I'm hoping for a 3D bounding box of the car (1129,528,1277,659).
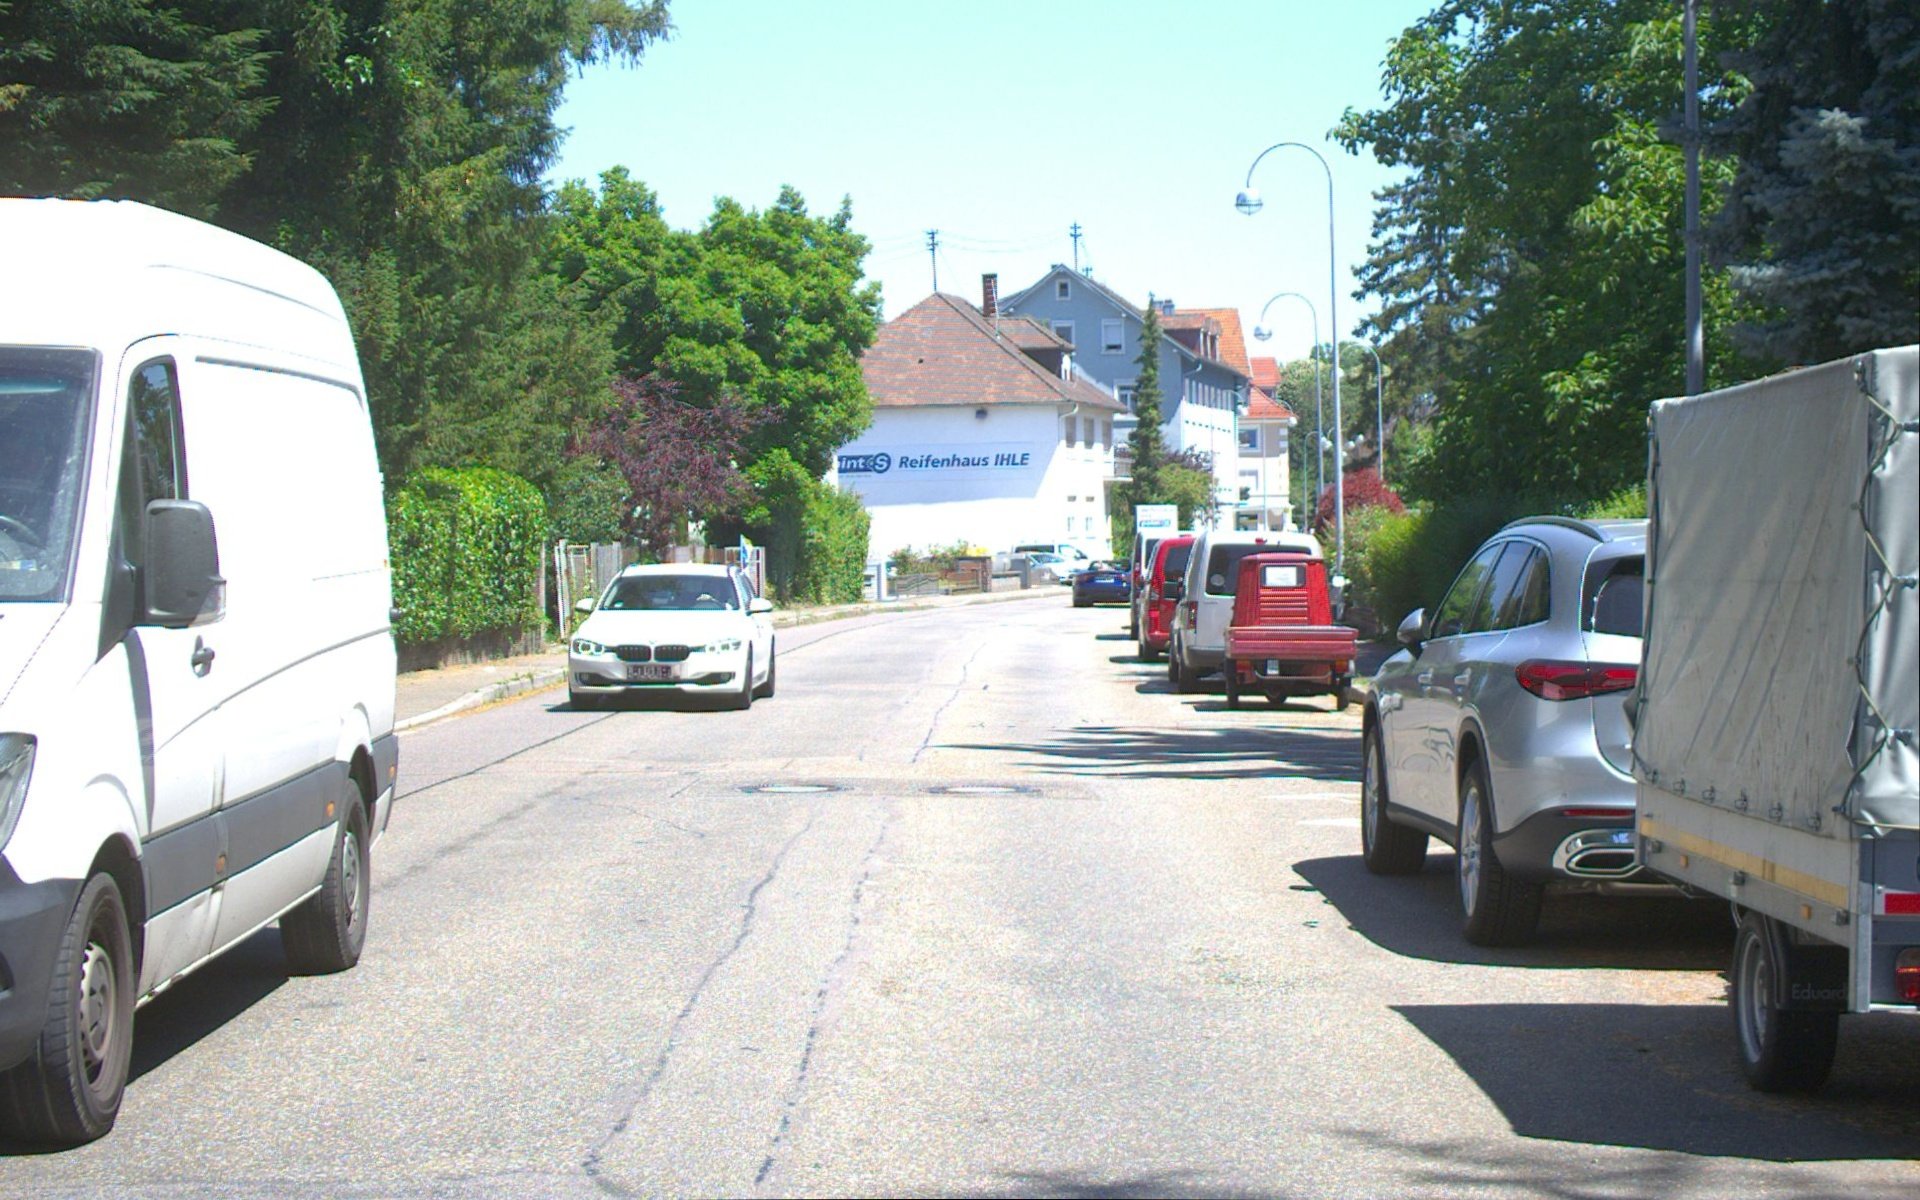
[{"bbox_3d":[3.409,-0.110,48.913,1.903,1.722,4.391,2,1,2],"label":"car"}]

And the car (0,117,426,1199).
[{"bbox_3d":[-3.122,0.119,10.737,1.993,2.524,5.894,0,1,0],"label":"car"}]

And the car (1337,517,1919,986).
[{"bbox_3d":[2.786,0.498,14.518,1.771,1.626,4.605,2,1,-1],"label":"car"}]

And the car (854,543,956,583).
[{"bbox_3d":[-2.182,-1.462,134.859,1.795,1.505,3.998,-1,2,-43],"label":"car"}]

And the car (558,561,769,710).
[{"bbox_3d":[-2.991,0.315,35.512,1.864,1.379,4.605,-1,1,-1],"label":"car"}]

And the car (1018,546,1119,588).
[{"bbox_3d":[4.574,-1.403,144.951,4.130,1.768,1.828,0,1,7],"label":"car"}]

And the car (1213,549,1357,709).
[{"bbox_3d":[3.200,0.260,34.167,1.261,1.490,2.708,2,1,3],"label":"car"}]

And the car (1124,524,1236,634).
[{"bbox_3d":[3.958,-0.410,62.524,1.903,1.918,4.718,0,1,2],"label":"car"}]

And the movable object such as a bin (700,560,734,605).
[{"bbox_3d":[-5.389,-0.386,76.148,0.708,0.993,0.474,0,1,2],"label":"movable object such as a bin"}]

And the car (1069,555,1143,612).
[{"bbox_3d":[4.100,-0.441,96.206,1.794,1.505,3.999,2,0,6],"label":"car"}]

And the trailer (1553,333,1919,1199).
[{"bbox_3d":[2.946,0.383,10.030,1.680,2.061,3.708,2,1,-1],"label":"trailer"}]

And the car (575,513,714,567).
[{"bbox_3d":[-9.396,-1.796,102.725,3.987,1.505,1.800,1,1,-1],"label":"car"}]

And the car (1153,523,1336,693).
[{"bbox_3d":[3.179,0.058,39.154,1.746,1.776,4.543,2,1,1],"label":"car"}]
